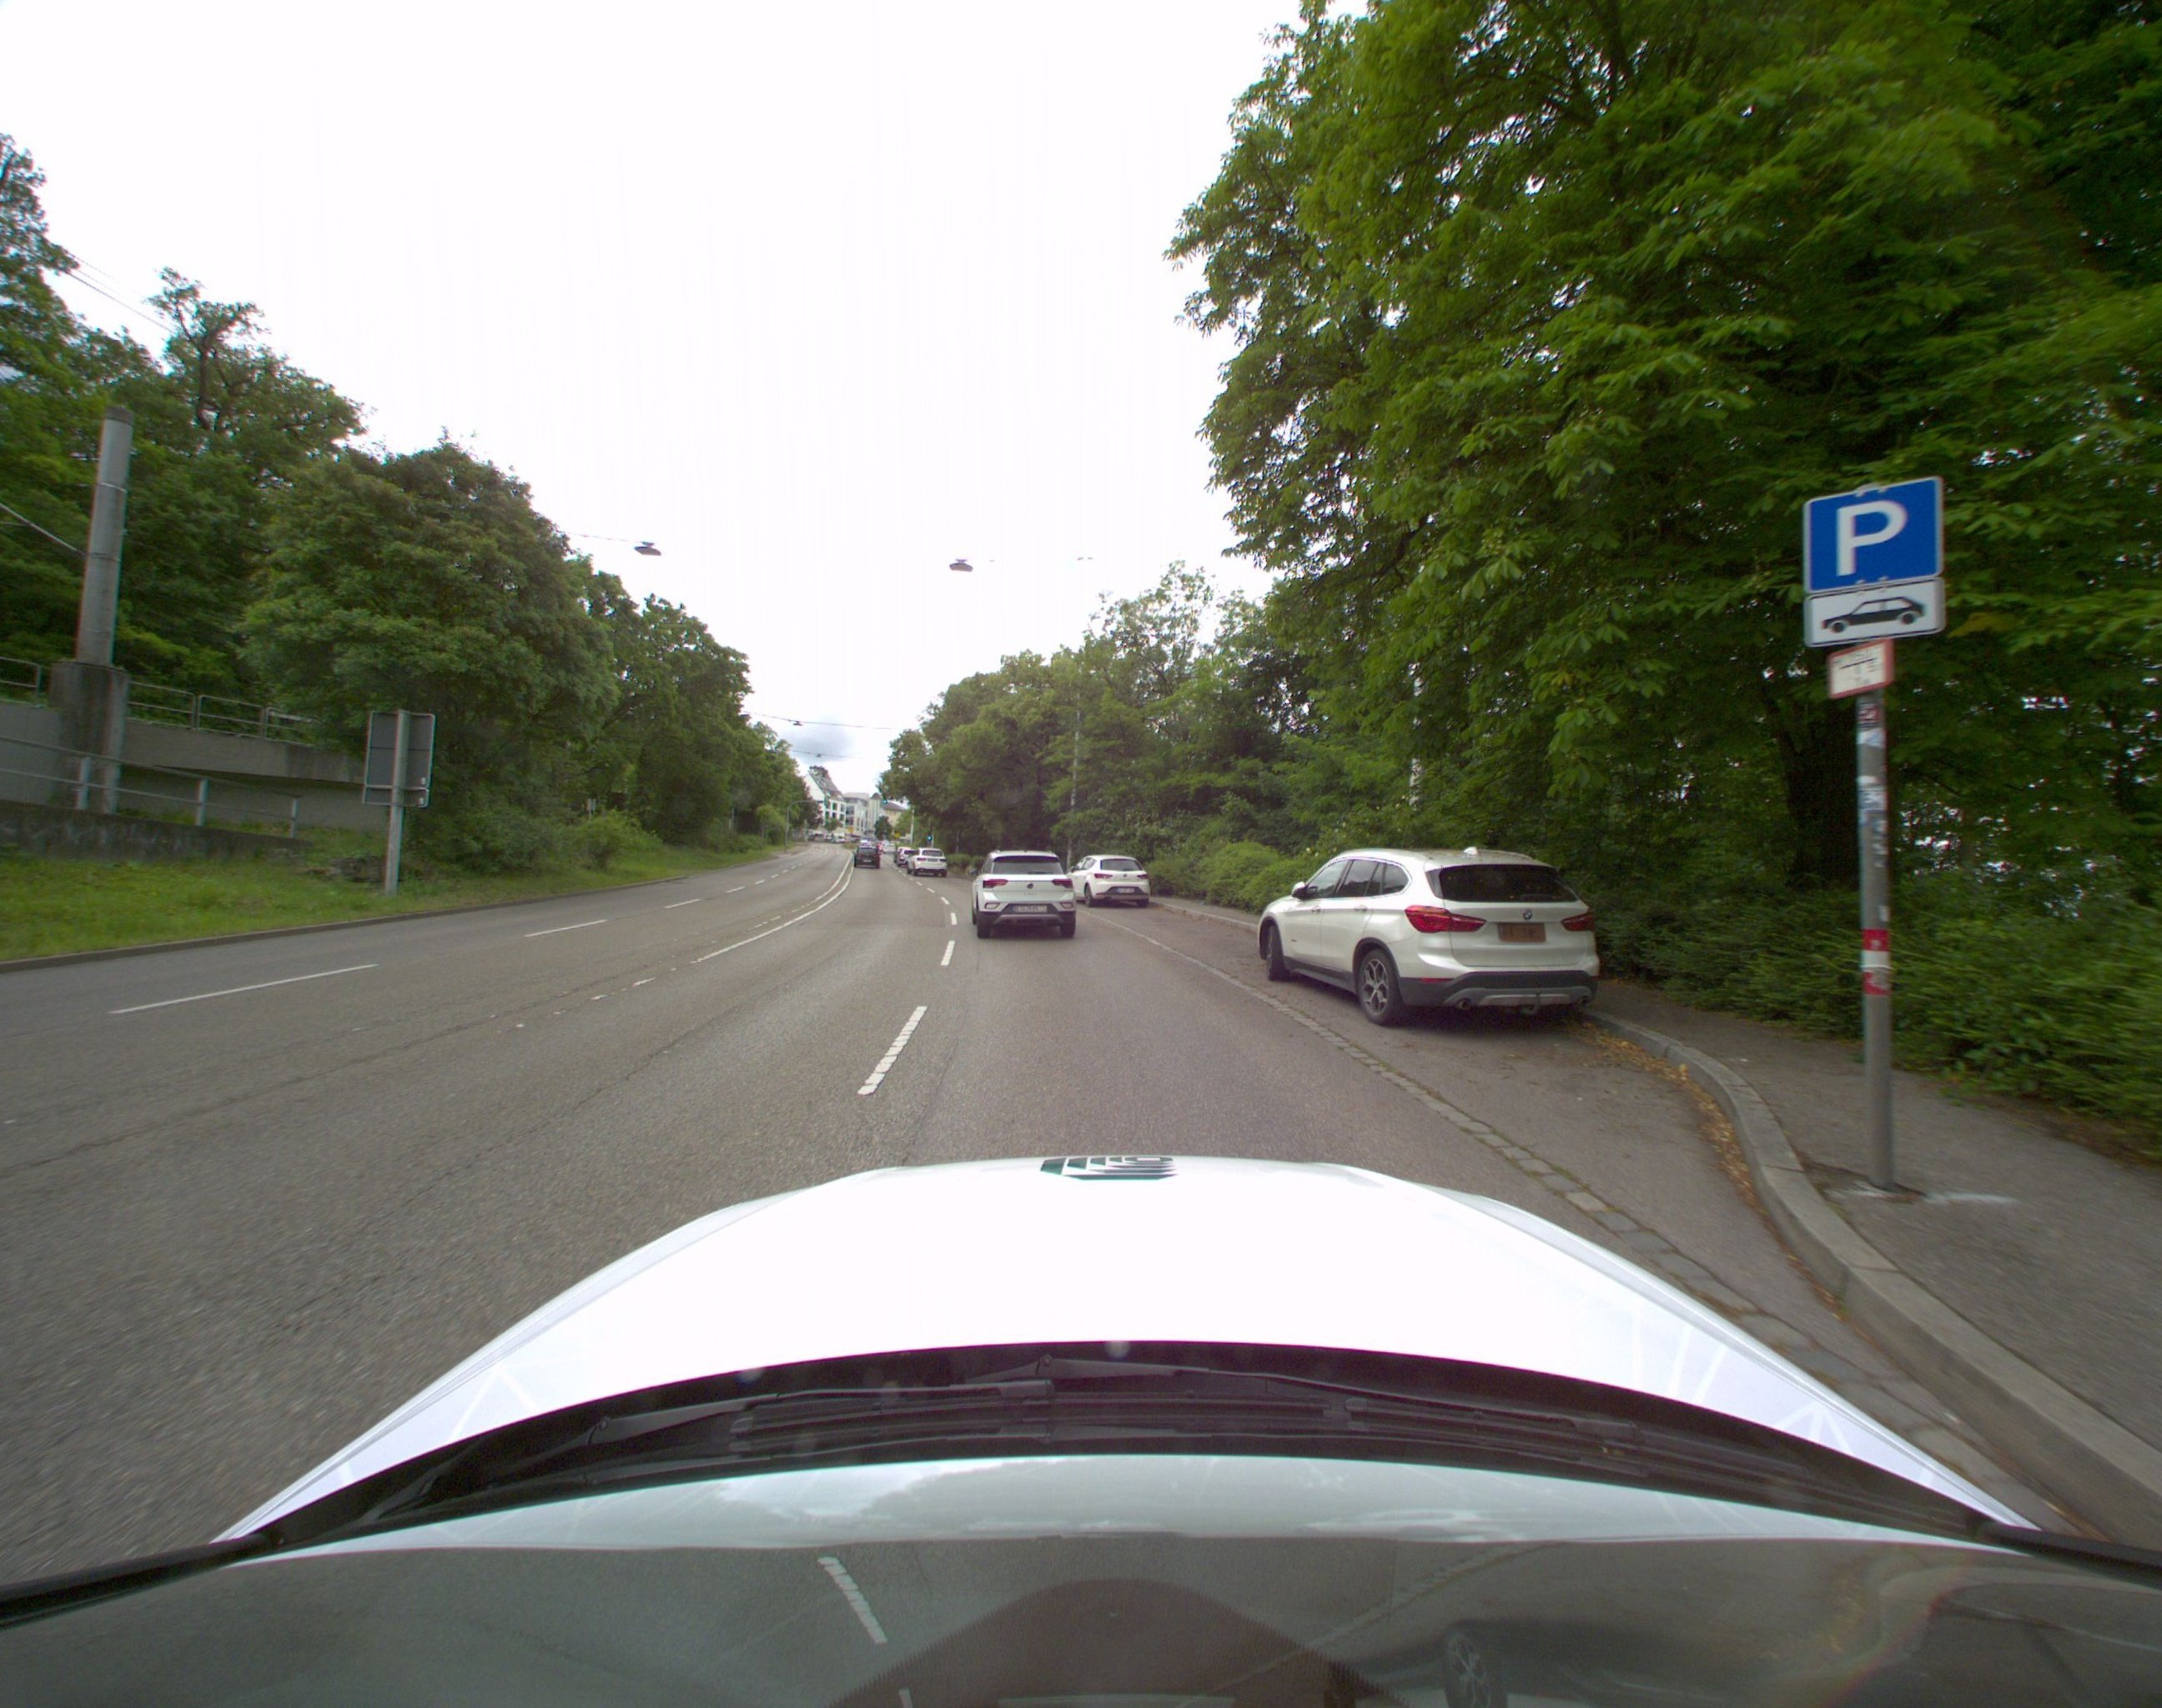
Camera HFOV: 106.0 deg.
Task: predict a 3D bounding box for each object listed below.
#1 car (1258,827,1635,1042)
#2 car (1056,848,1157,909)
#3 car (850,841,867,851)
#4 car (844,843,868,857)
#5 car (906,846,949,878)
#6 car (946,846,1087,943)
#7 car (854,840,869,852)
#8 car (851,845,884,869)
[{"bbox_3d":[3.359,0.618,8.560,1.755,1.652,4.374,-1,0,-4],"label":"car"},{"bbox_3d":[0.621,0.648,24.063,1.735,1.482,4.679,2,1,-14],"label":"car"},{"bbox_3d":[-37.793,-1.400,138.458,1.989,1.527,3.996,2,1,-3],"label":"car"},{"bbox_3d":[-24.957,-0.474,90.424,1.992,1.487,3.990,2,1,-8],"label":"car"},{"bbox_3d":[-8.910,0.418,47.123,1.857,1.702,3.974,0,1,-20],"label":"car"},{"bbox_3d":[-1.383,0.676,15.784,2.004,1.596,3.979,-1,0,-16],"label":"car"},{"bbox_3d":[-30.278,-1.103,112.440,1.711,1.589,3.985,2,1,-11],"label":"car"},{"bbox_3d":[-14.700,0.209,55.951,1.954,1.466,3.977,2,1,-18],"label":"car"}]
